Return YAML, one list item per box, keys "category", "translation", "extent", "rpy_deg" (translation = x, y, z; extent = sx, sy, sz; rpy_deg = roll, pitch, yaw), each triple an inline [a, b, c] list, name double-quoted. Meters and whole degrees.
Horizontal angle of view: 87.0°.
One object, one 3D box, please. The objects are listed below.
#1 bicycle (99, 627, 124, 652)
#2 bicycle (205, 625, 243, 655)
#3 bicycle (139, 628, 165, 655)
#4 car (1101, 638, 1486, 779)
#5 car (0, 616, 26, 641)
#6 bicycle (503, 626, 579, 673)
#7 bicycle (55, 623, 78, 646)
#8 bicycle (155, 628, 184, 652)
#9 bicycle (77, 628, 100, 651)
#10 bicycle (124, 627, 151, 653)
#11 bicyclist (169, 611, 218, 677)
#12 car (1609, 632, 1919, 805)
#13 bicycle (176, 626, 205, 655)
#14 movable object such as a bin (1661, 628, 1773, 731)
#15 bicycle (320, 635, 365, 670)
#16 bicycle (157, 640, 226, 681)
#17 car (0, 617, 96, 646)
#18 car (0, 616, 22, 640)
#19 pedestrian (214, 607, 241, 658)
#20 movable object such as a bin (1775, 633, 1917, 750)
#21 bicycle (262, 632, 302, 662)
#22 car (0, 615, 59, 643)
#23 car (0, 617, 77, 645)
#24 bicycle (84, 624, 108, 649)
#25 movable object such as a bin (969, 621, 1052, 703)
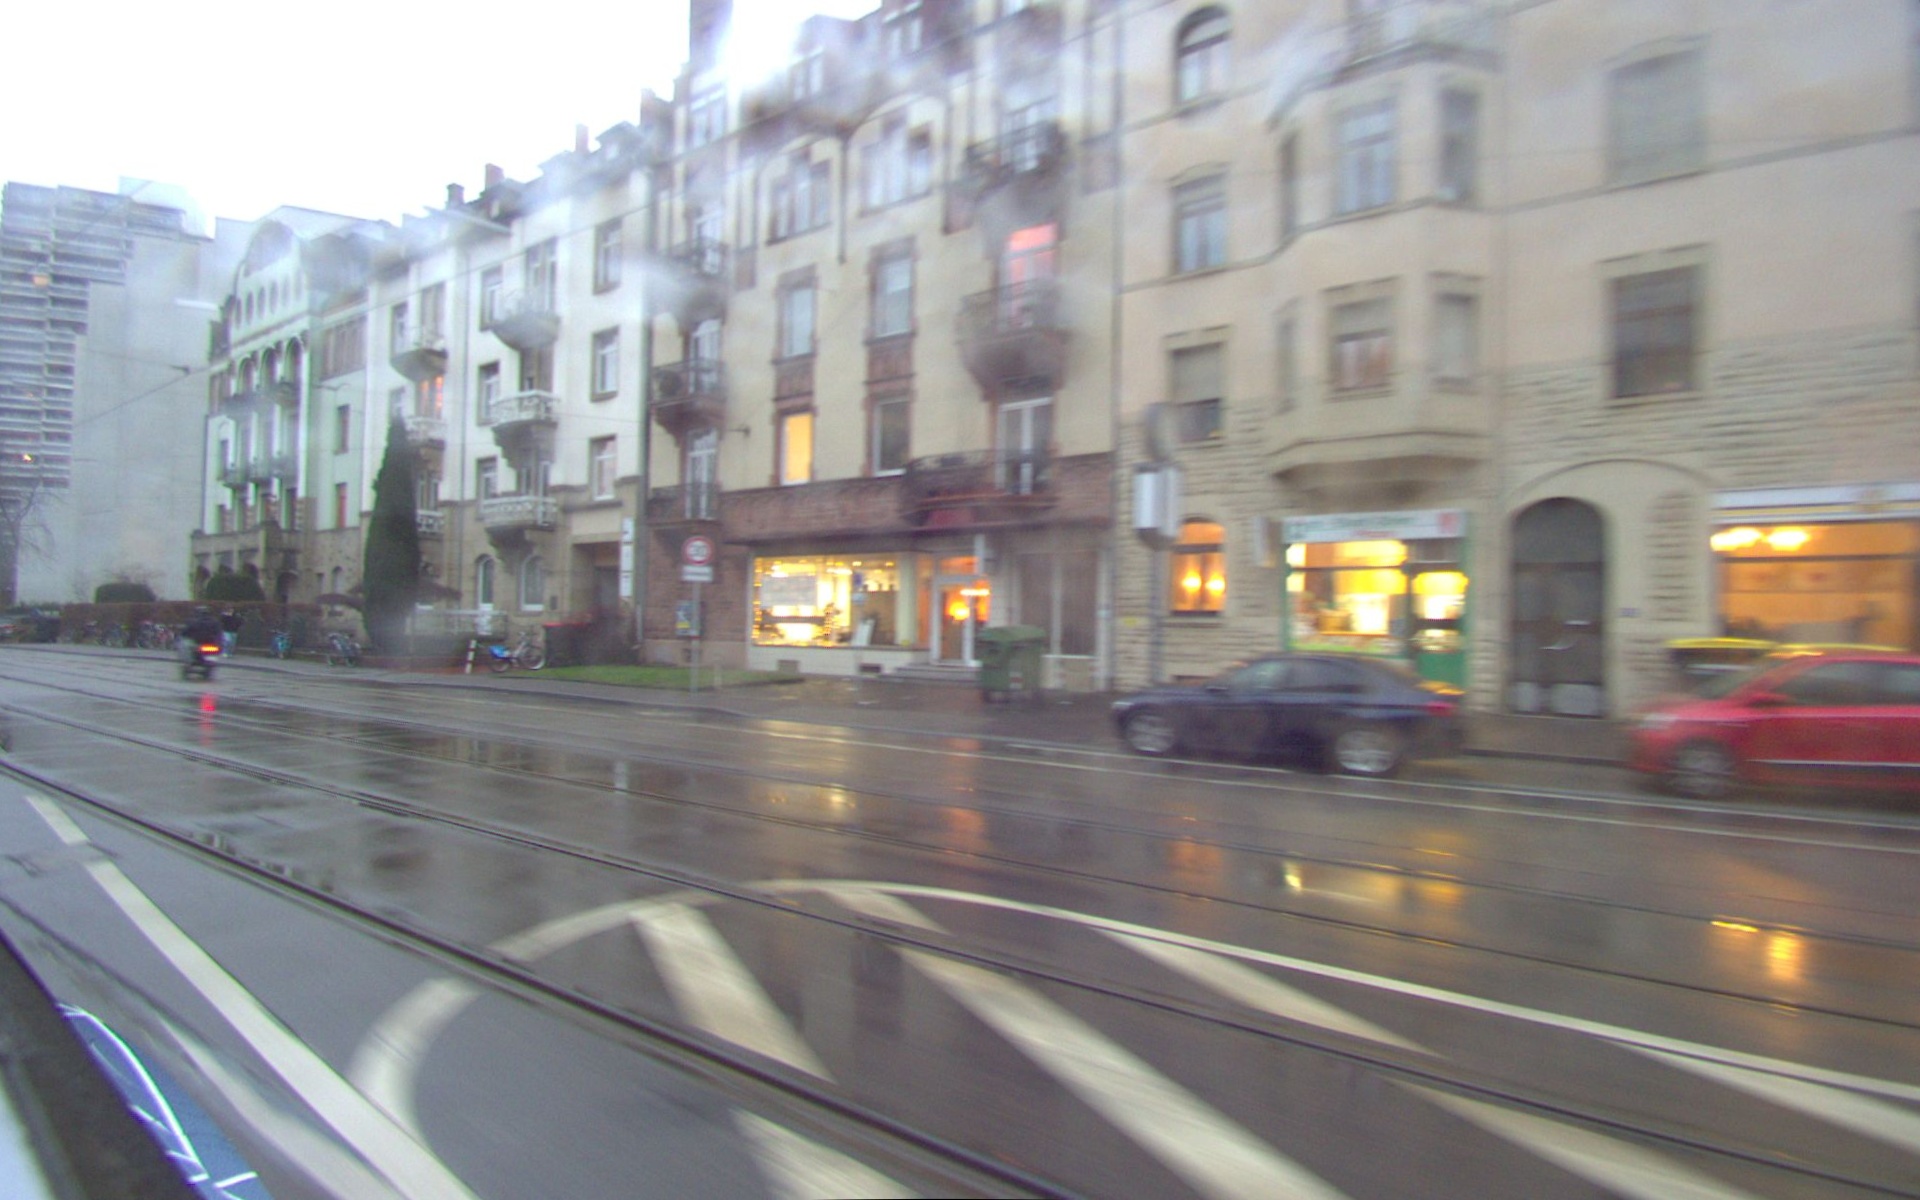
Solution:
- category: "bicycle"
  translation: [-36.453, 1.672, 43.461]
  extent: [1.878, 1.014, 0.430]
  rpy_deg: [0, 1, 38]
- category: "bicycle"
  translation: [-26.220, 1.409, 36.047]
  extent: [2.206, 1.014, 0.518]
  rpy_deg: [0, 1, 38]
- category: "bicycle"
  translation: [-31.938, 1.639, 39.984]
  extent: [1.603, 1.014, 0.430]
  rpy_deg: [0, 1, 38]
- category: "car"
  translation: [4.277, 1.286, 13.271]
  extent: [4.496, 1.400, 1.787]
  rpy_deg: [0, 1, 33]
- category: "car"
  translation: [-56.419, 1.695, 58.180]
  extent: [1.724, 1.424, 3.795]
  rpy_deg: [-1, 0, 37]
- category: "bicycle"
  translation: [-11.739, 1.368, 28.405]
  extent: [0.530, 1.167, 1.967]
  rpy_deg: [0, 1, 36]
- category: "bicycle"
  translation: [-42.033, 1.614, 47.590]
  extent: [1.878, 1.014, 0.464]
  rpy_deg: [0, 1, 38]
- category: "bicycle"
  translation: [-30.461, 1.530, 38.991]
  extent: [1.765, 0.838, 0.437]
  rpy_deg: [0, 1, 38]
- category: "bicycle"
  translation: [-39.604, 1.787, 45.957]
  extent: [1.878, 1.014, 0.430]
  rpy_deg: [0, 1, 38]
- category: "bicycle"
  translation: [-33.607, 1.637, 41.340]
  extent: [1.878, 1.014, 0.430]
  rpy_deg: [0, 1, 38]
- category: "bicyclist"
  translation: [-18.089, 1.045, 23.889]
  extent: [0.655, 1.512, 0.651]
  rpy_deg: [0, -3, 29]
- category: "car"
  translation: [8.960, 1.153, 10.499]
  extent: [3.665, 1.528, 1.660]
  rpy_deg: [0, 1, 31]
- category: "bicycle"
  translation: [-28.915, 1.518, 38.036]
  extent: [1.710, 1.014, 0.430]
  rpy_deg: [0, 1, 38]
- category: "movable object such as a bin"
  translation: [11.052, 1.124, 14.836]
  extent: [1.272, 1.382, 0.993]
  rpy_deg: [0, 1, 35]
- category: "bicycle"
  translation: [-18.171, 1.528, 29.774]
  extent: [2.085, 0.947, 0.524]
  rpy_deg: [0, 1, 41]
- category: "bicycle"
  translation: [-18.165, 1.421, 23.910]
  extent: [1.706, 0.896, 0.642]
  rpy_deg: [0, -3, 29]
- category: "car"
  translation: [-47.025, 1.629, 51.911]
  extent: [1.724, 1.424, 3.794]
  rpy_deg: [-1, -2, 37]
- category: "car"
  translation: [-59.650, 1.736, 61.352]
  extent: [1.724, 1.424, 3.795]
  rpy_deg: [0, 1, 37]
- category: "pedestrian"
  translation: [-24.512, 1.074, 33.869]
  extent: [0.448, 1.654, 0.567]
  rpy_deg: [0, 1, 33]
- category: "movable object such as a bin"
  translation: [11.794, 1.174, 13.541]
  extent: [1.278, 1.382, 1.337]
  rpy_deg: [0, 1, 35]
- category: "bicycle"
  translation: [-21.946, 1.505, 32.736]
  extent: [2.208, 0.896, 0.524]
  rpy_deg: [0, 1, 41]
- category: "car"
  translation: [-51.619, 1.587, 54.901]
  extent: [1.724, 1.424, 3.795]
  rpy_deg: [0, 1, 37]
- category: "car"
  translation: [-49.266, 1.629, 53.368]
  extent: [1.724, 1.424, 3.794]
  rpy_deg: [-1, -3, 37]
- category: "bicycle"
  translation: [-38.089, 1.595, 44.623]
  extent: [1.878, 1.014, 0.430]
  rpy_deg: [0, 1, 38]
- category: "movable object such as a bin"
  translation: [0.970, 1.143, 19.255]
  extent: [1.072, 1.442, 1.226]
  rpy_deg: [0, 1, 35]
